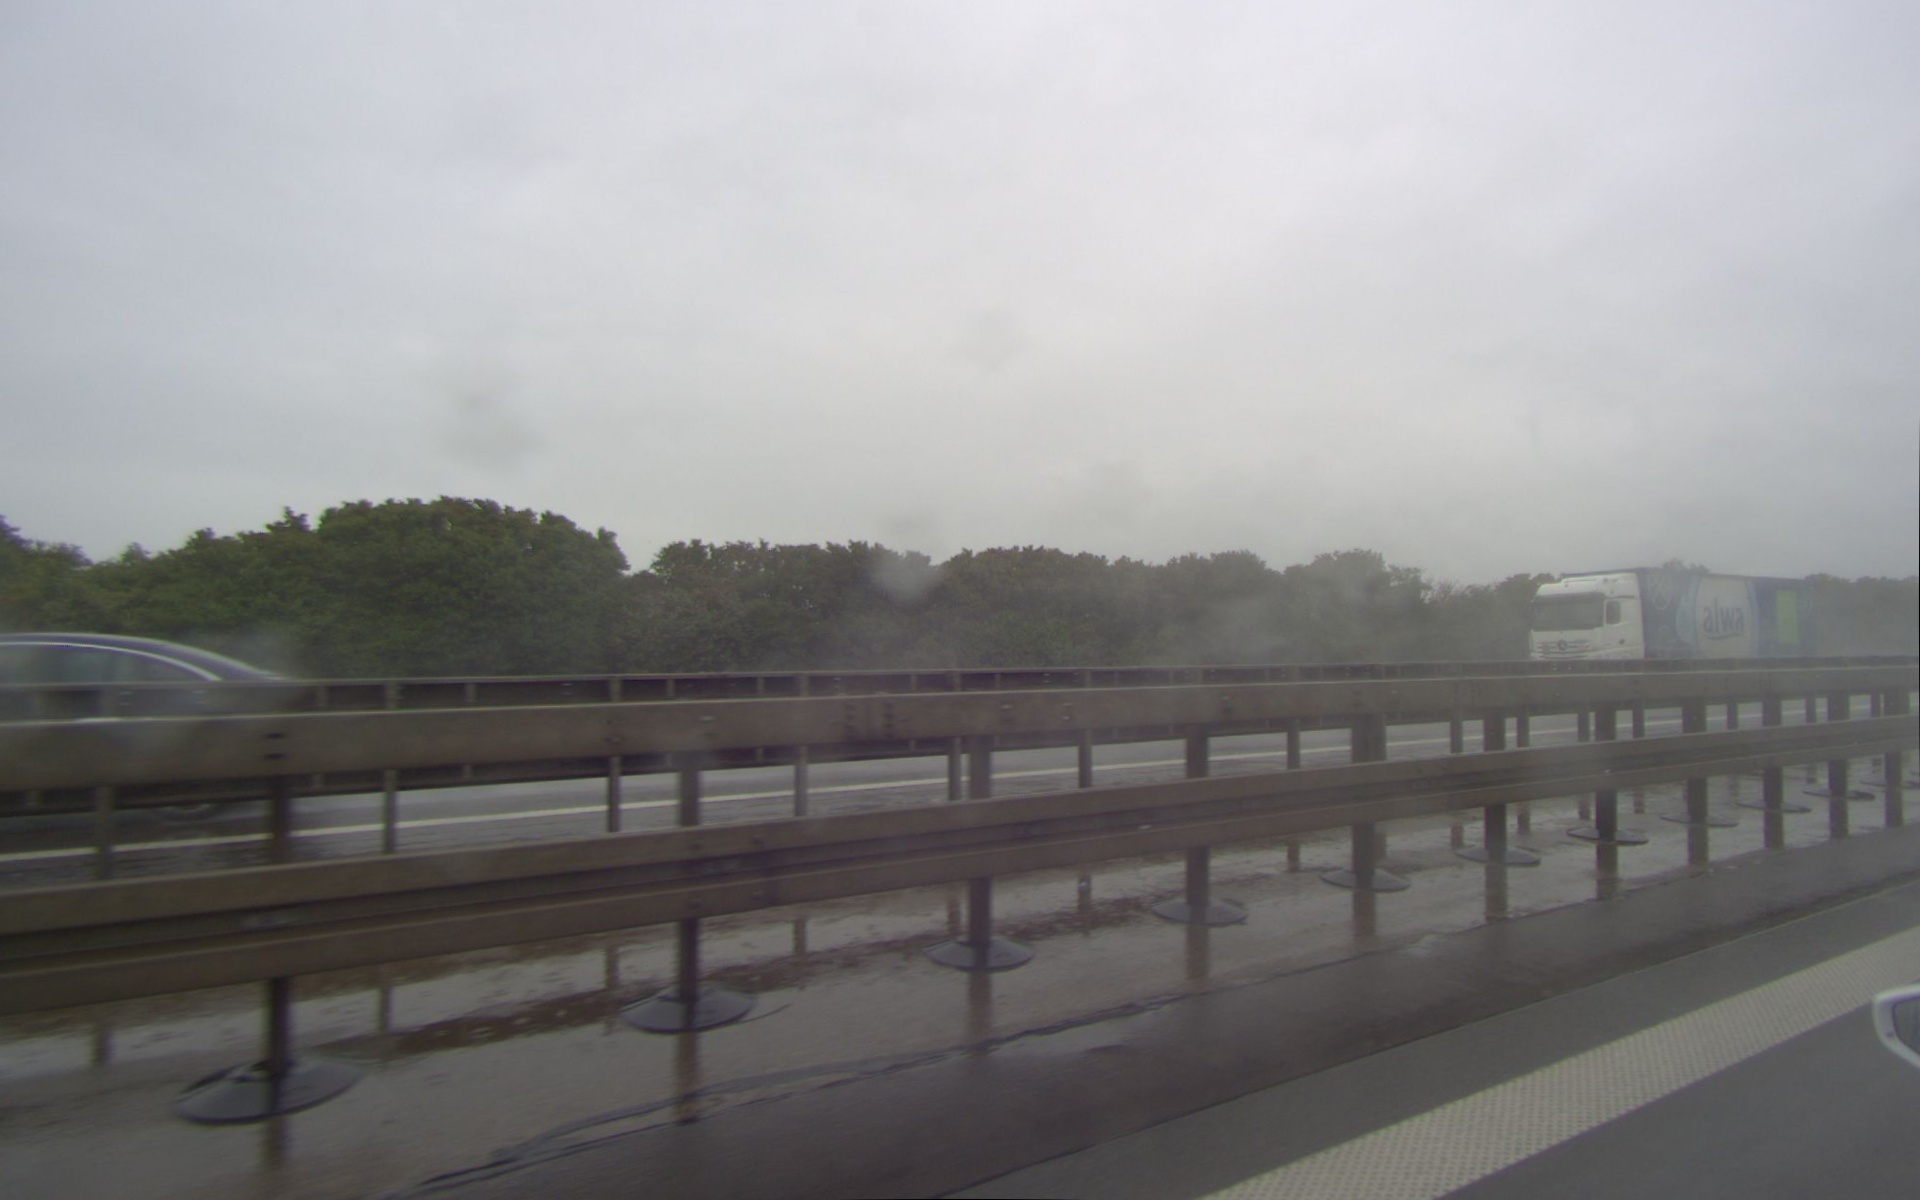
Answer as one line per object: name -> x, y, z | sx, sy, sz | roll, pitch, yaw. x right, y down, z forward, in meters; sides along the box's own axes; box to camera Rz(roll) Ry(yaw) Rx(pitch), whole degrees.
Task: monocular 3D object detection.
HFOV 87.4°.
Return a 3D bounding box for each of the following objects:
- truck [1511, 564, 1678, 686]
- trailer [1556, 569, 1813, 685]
truck -> 21.647, 0.846, 34.245 | 5.336, 3.856, 2.610 | 2, 0, -30
trailer -> 27.534, 1.047, 37.769 | 13.425, 3.855, 2.621 | 2, 0, -30
